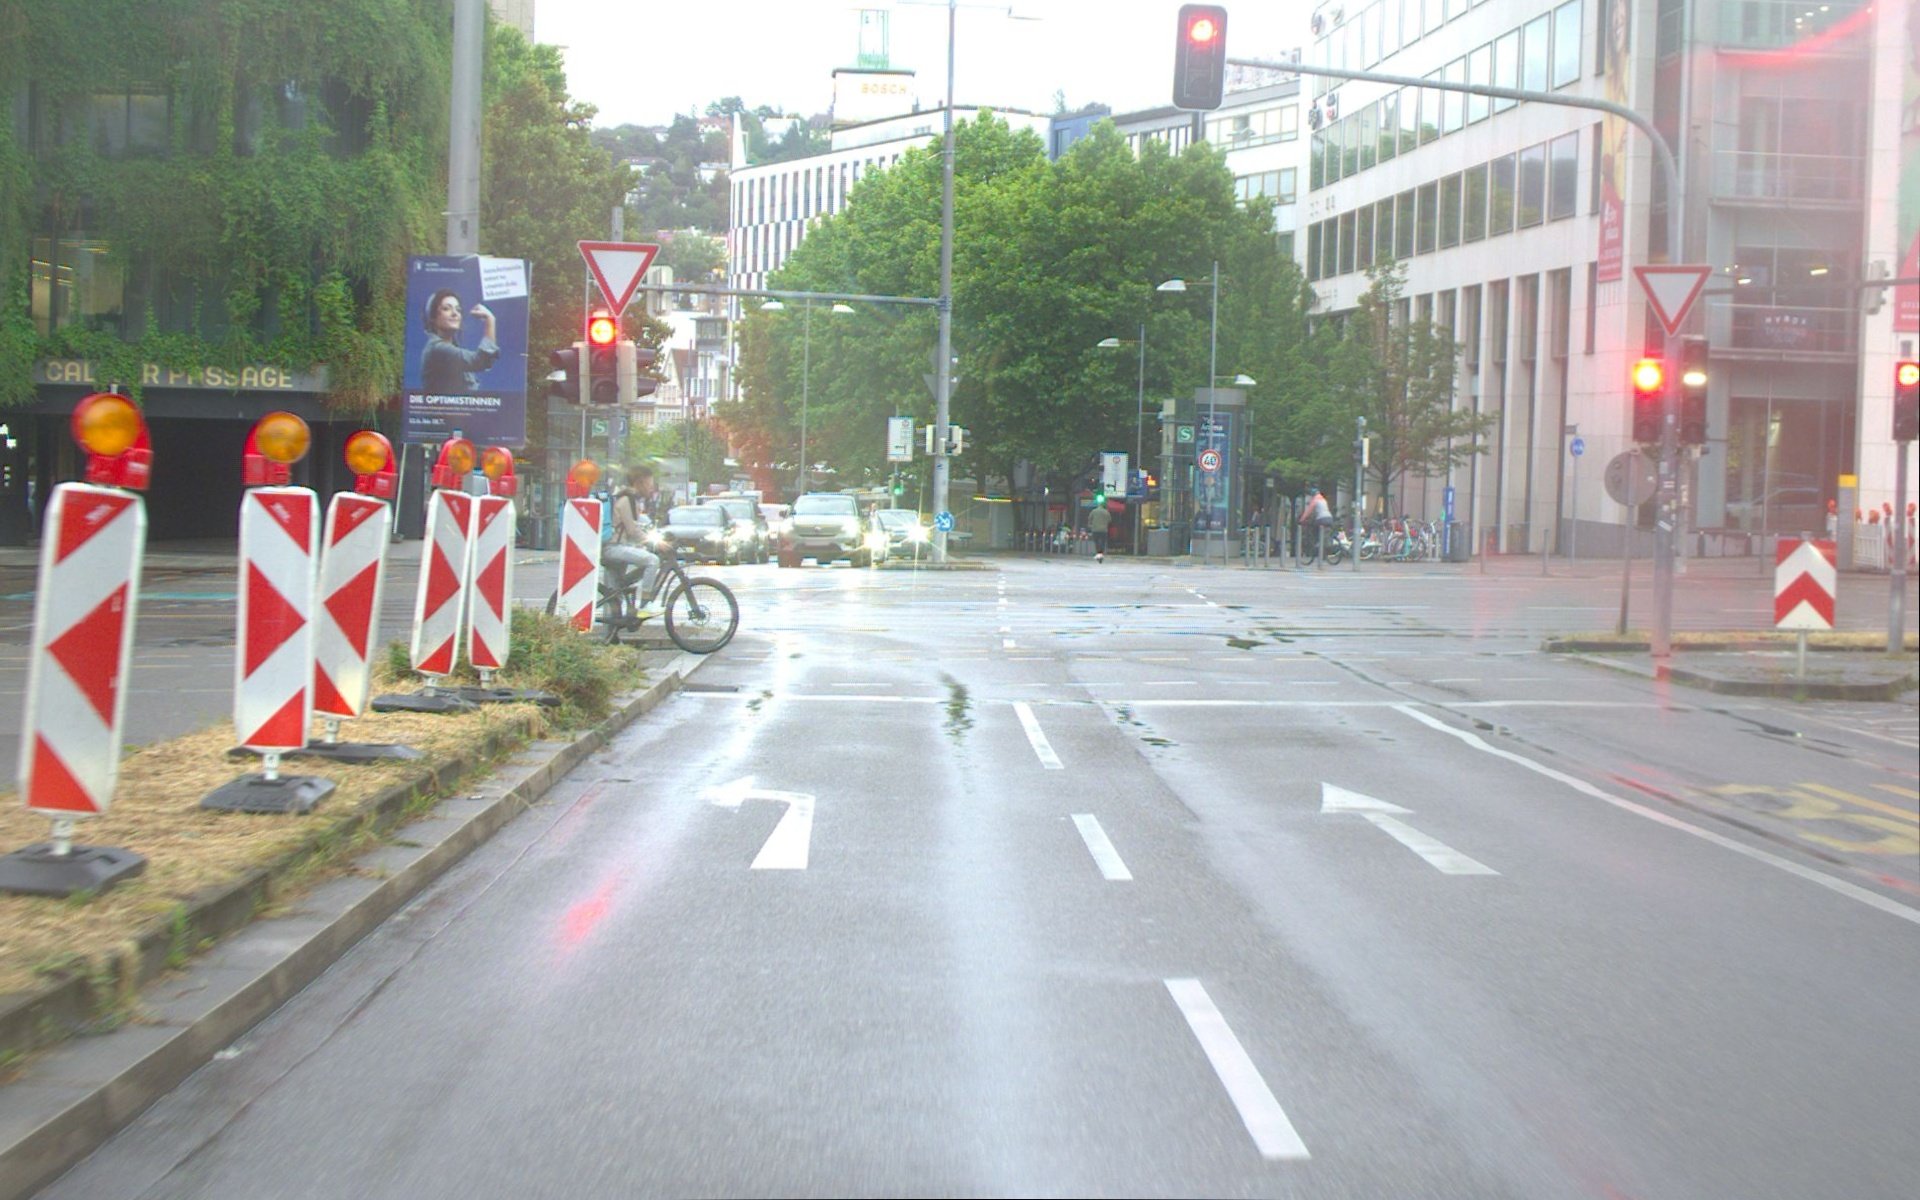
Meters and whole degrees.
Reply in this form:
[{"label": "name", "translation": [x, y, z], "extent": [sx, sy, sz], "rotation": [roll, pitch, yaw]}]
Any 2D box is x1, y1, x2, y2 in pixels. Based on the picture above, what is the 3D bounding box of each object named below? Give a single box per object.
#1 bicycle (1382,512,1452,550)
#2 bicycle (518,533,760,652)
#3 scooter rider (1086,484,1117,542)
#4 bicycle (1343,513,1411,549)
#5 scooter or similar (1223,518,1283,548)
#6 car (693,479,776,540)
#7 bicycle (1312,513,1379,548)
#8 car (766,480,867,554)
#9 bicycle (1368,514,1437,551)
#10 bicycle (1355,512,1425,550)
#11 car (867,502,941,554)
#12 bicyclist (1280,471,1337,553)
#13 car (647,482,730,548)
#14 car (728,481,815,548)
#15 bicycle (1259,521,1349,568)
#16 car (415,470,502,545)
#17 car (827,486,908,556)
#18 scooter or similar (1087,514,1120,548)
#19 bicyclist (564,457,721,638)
[{"label": "bicycle", "translation": [11.651, -1.757, 87.723], "extent": [1.799, 0.931, 0.474], "rotation": [2, 2, 41]}, {"label": "bicycle", "translation": [-3.079, -0.077, 32.973], "extent": [2.145, 1.099, 0.848], "rotation": [0, 2, -21]}, {"label": "scooter rider", "translation": [4.295, -2.646, 104.502], "extent": [0.762, 1.768, 0.796], "rotation": [0, 1, -11]}, {"label": "bicycle", "translation": [11.374, -1.884, 93.762], "extent": [1.794, 0.931, 0.475], "rotation": [1, 2, 3]}, {"label": "scooter or similar", "translation": [8.762, -2.006, 102.872], "extent": [1.745, 0.875, 0.489], "rotation": [0, 1, -19]}, {"label": "car", "translation": [-5.752, -2.303, 87.204], "extent": [1.856, 1.443, 4.622], "rotation": [1, 2, -7]}, {"label": "bicycle", "translation": [10.721, -1.941, 95.609], "extent": [1.794, 0.931, 0.475], "rotation": [1, 2, 3]}, {"label": "car", "translation": [-3.208, -1.853, 76.003], "extent": [1.993, 1.545, 4.557], "rotation": [1, 2, -5]}, {"label": "bicycle", "translation": [11.505, -1.764, 89.434], "extent": [1.799, 0.931, 0.474], "rotation": [2, 2, 41]}, {"label": "bicycle", "translation": [10.887, -1.747, 87.081], "extent": [1.799, 0.931, 0.474], "rotation": [2, 2, 41]}, {"label": "car", "translation": [-1.715, -2.193, 103.986], "extent": [1.993, 1.438, 4.557], "rotation": [0, 3, -4]}, {"label": "bicyclist", "translation": [8.558, -2.161, 84.370], "extent": [0.791, 1.968, 1.114], "rotation": [0, 2, -41]}, {"label": "car", "translation": [-6.400, -2.014, 80.681], "extent": [1.856, 1.443, 4.622], "rotation": [1, 2, -5]}, {"label": "car", "translation": [-5.344, -2.434, 96.869], "extent": [2.174, 1.817, 4.645], "rotation": [1, 2, -6]}, {"label": "bicycle", "translation": [8.452, -1.368, 84.488], "extent": [0.791, 1.113, 2.255], "rotation": [0, 2, -41]}, {"label": "car", "translation": [-13.271, -2.467, 91.148], "extent": [1.993, 1.888, 4.466], "rotation": [1, 2, -5]}, {"label": "car", "translation": [-2.397, -2.050, 88.133], "extent": [1.963, 1.649, 4.365], "rotation": [0, 3, -3]}, {"label": "scooter or similar", "translation": [4.355, -2.098, 104.470], "extent": [0.556, 1.003, 1.824], "rotation": [0, 2, -11]}, {"label": "bicyclist", "translation": [-3.051, -0.508, 32.993], "extent": [1.294, 1.698, 0.848], "rotation": [0, 2, -21]}]
